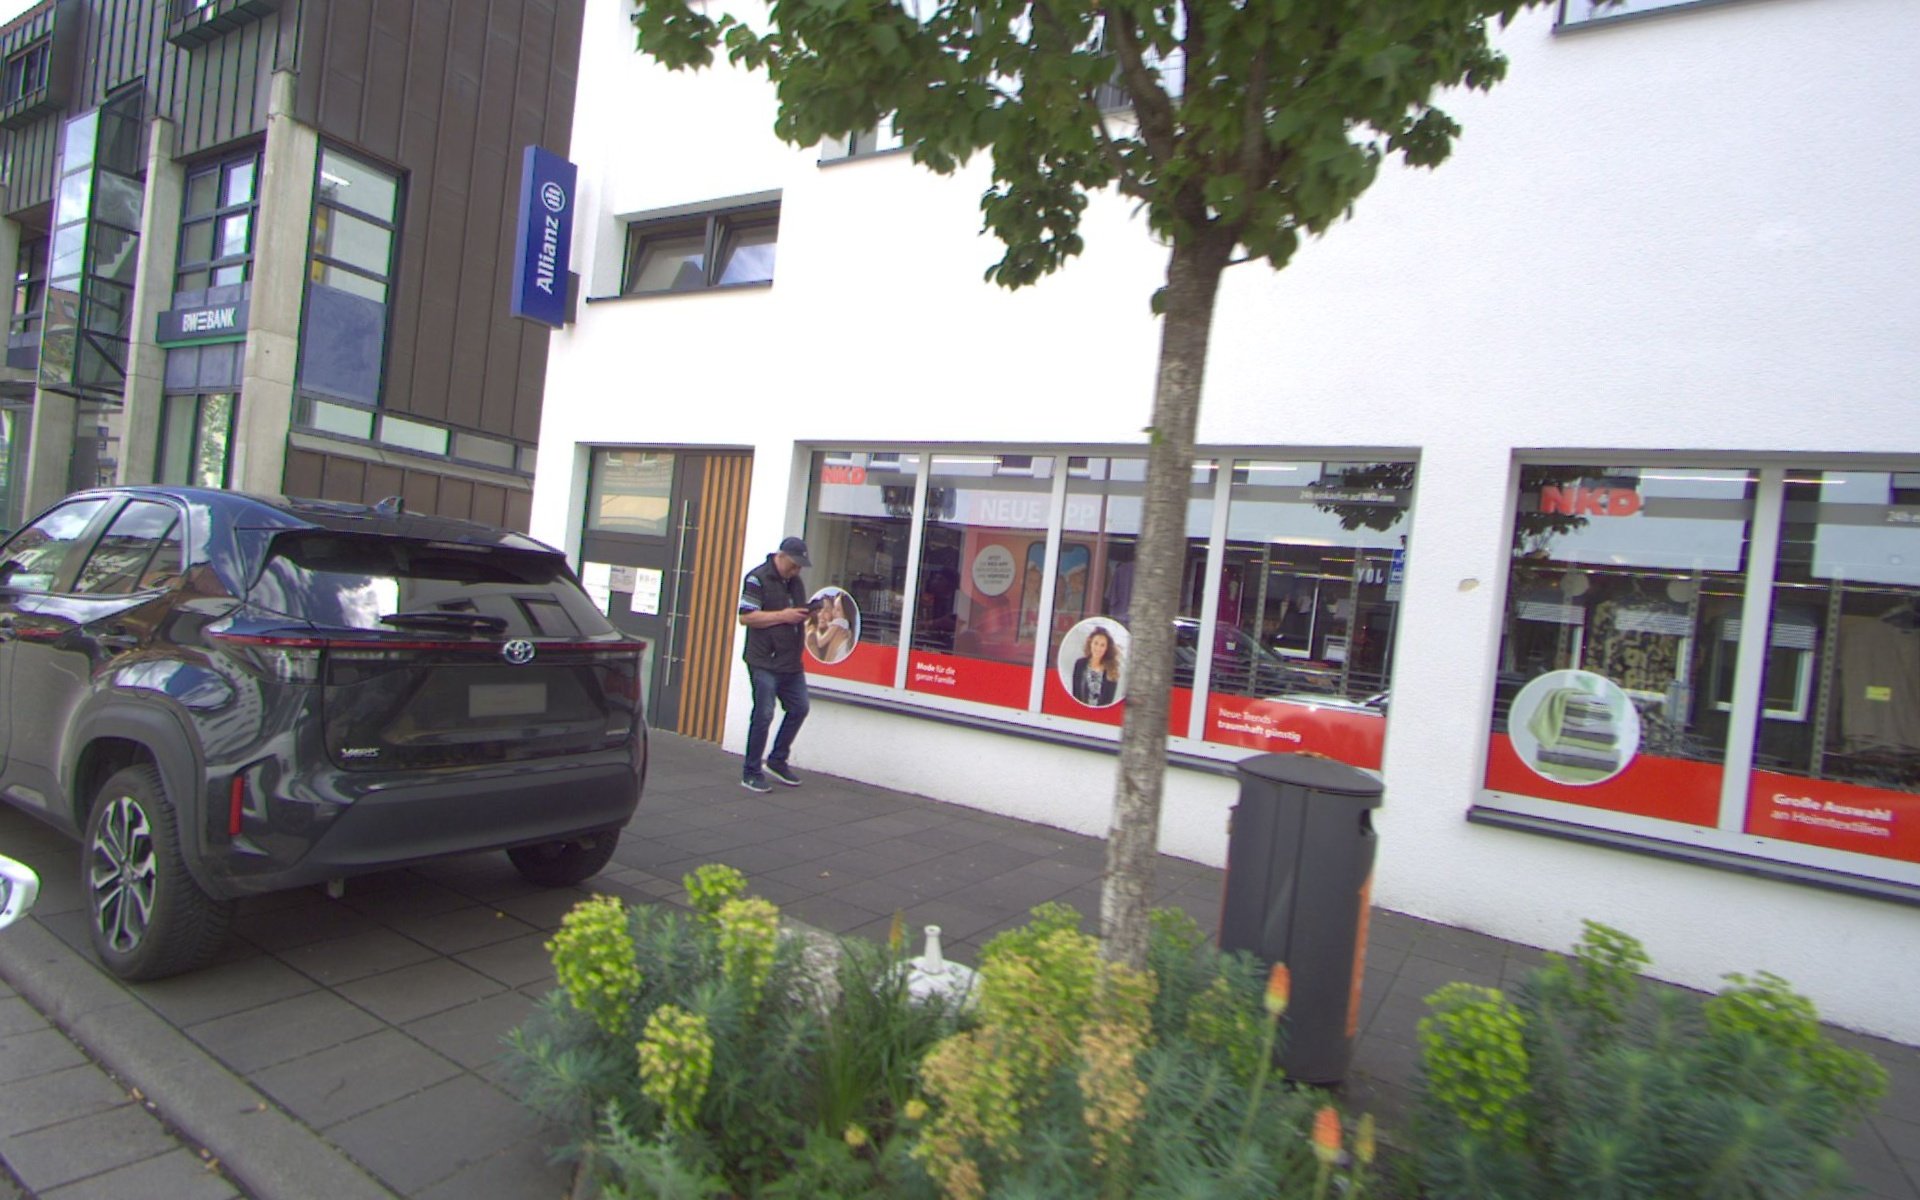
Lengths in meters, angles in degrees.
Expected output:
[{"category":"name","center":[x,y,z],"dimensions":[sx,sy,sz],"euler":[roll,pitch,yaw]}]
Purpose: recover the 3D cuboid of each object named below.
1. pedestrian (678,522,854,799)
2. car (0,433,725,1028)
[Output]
[{"category":"pedestrian","center":[-1.337,0.399,6.981],"dimensions":[0.744,1.759,0.741],"euler":[6,1,32]},{"category":"car","center":[-3.222,0.254,4.485],"dimensions":[4.040,1.595,1.725],"euler":[6,-2,31]}]
